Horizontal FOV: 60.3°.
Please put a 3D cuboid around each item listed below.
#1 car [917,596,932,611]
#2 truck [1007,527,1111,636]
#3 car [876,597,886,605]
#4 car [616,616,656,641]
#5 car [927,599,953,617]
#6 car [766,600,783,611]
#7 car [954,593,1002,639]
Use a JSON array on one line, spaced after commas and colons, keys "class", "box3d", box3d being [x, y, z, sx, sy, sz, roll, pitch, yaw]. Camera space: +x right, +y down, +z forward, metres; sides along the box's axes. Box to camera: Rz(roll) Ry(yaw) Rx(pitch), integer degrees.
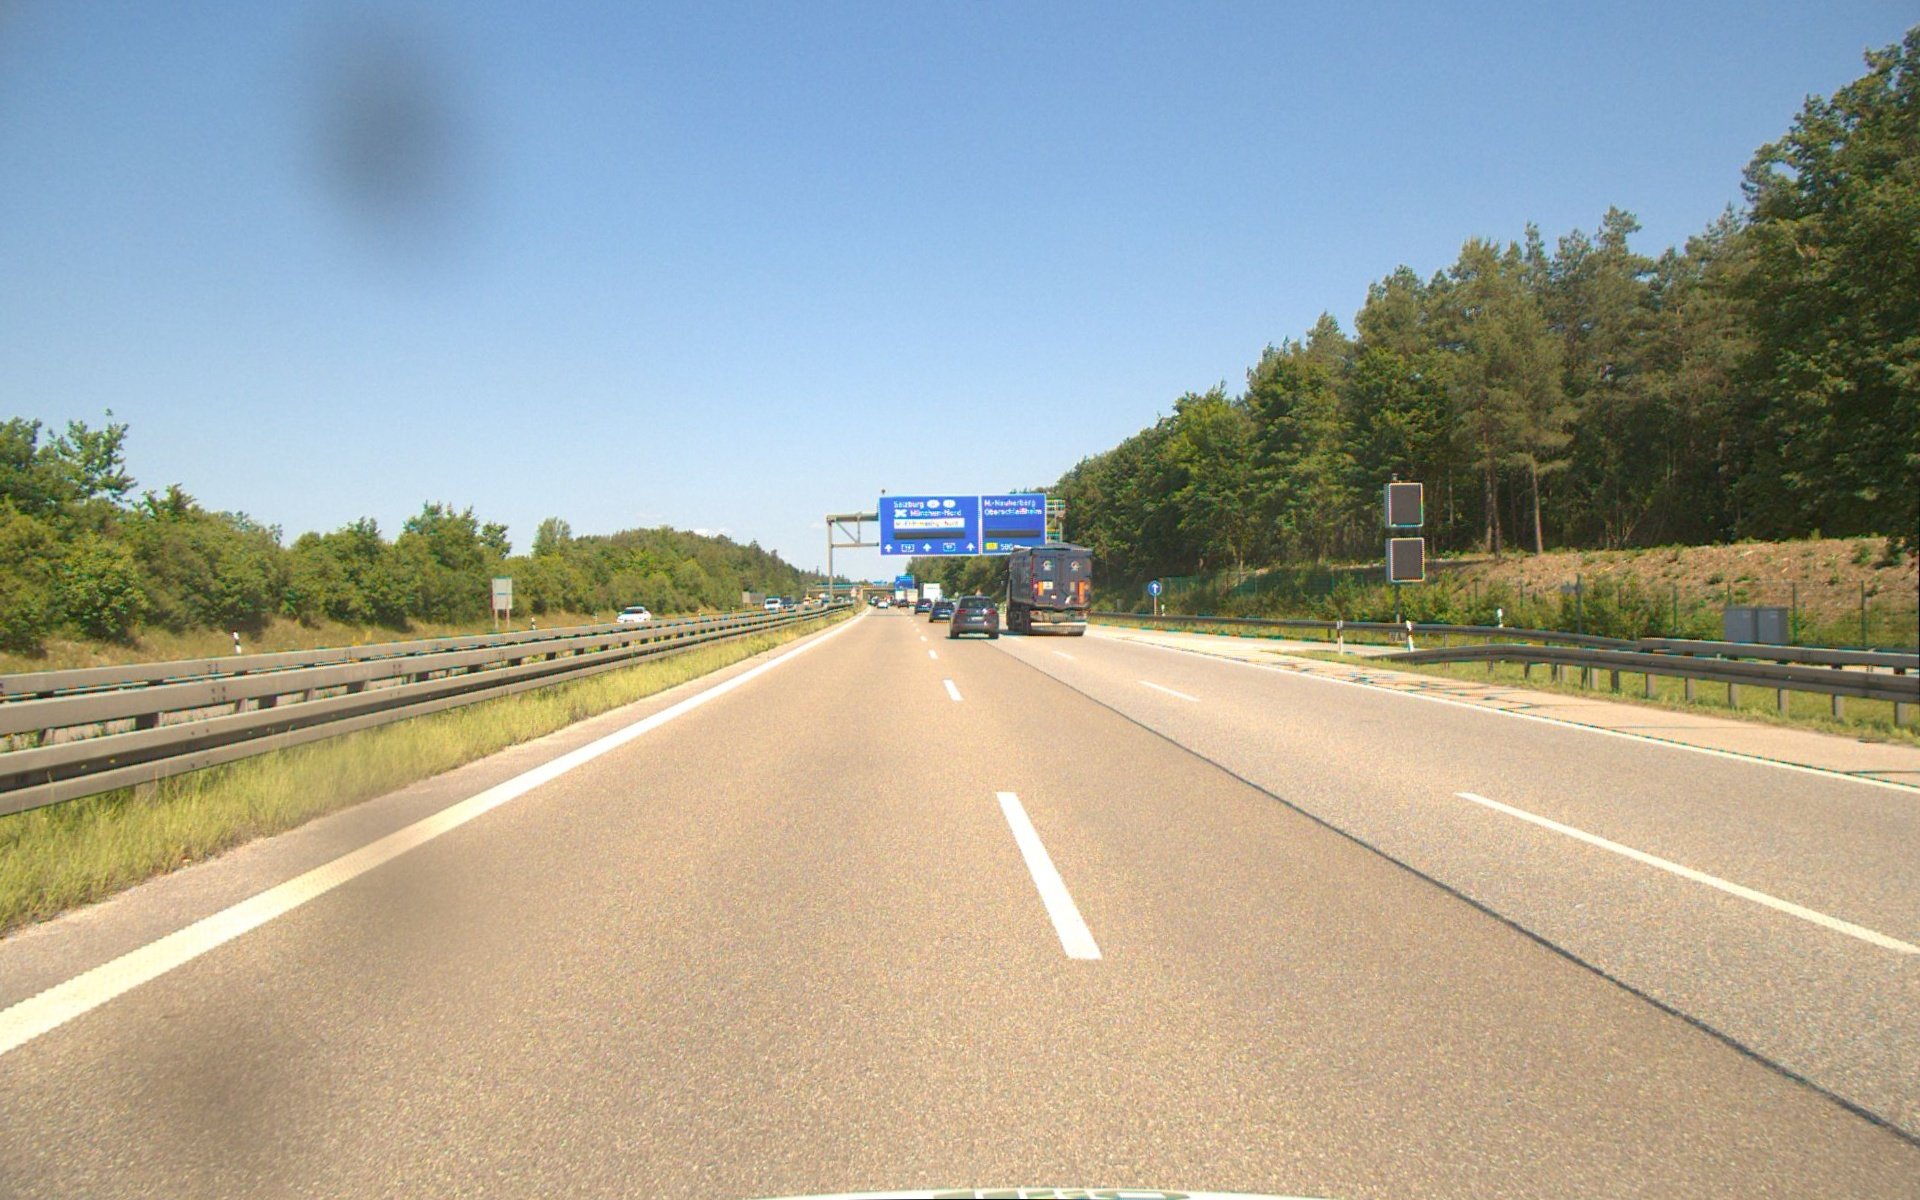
[{"class": "car", "box3d": [-3.583, 0.356, 166.549, 1.441, 1.422, 3.410, 2, 0, -1]}, {"class": "truck", "box3d": [4.305, -0.799, 75.516, 3.703, 4.499, 14.048, 0, 0, -1]}, {"class": "car", "box3d": [-12.424, 0.176, 259.040, 1.441, 1.249, 3.410, -1, 0, -1]}, {"class": "car", "box3d": [-21.881, 1.914, 111.833, 1.953, 1.621, 4.299, -1, 0, -1]}, {"class": "car", "box3d": [-1.331, 0.520, 109.556, 1.674, 1.176, 3.688, -1, 0, -1]}, {"class": "car", "box3d": [-21.783, 0.621, 194.318, 1.571, 1.322, 3.790, 0, 0, -1]}, {"class": "car", "box3d": [0.748, 0.597, 64.720, 1.762, 1.698, 4.259, 1, 0, 2]}]
